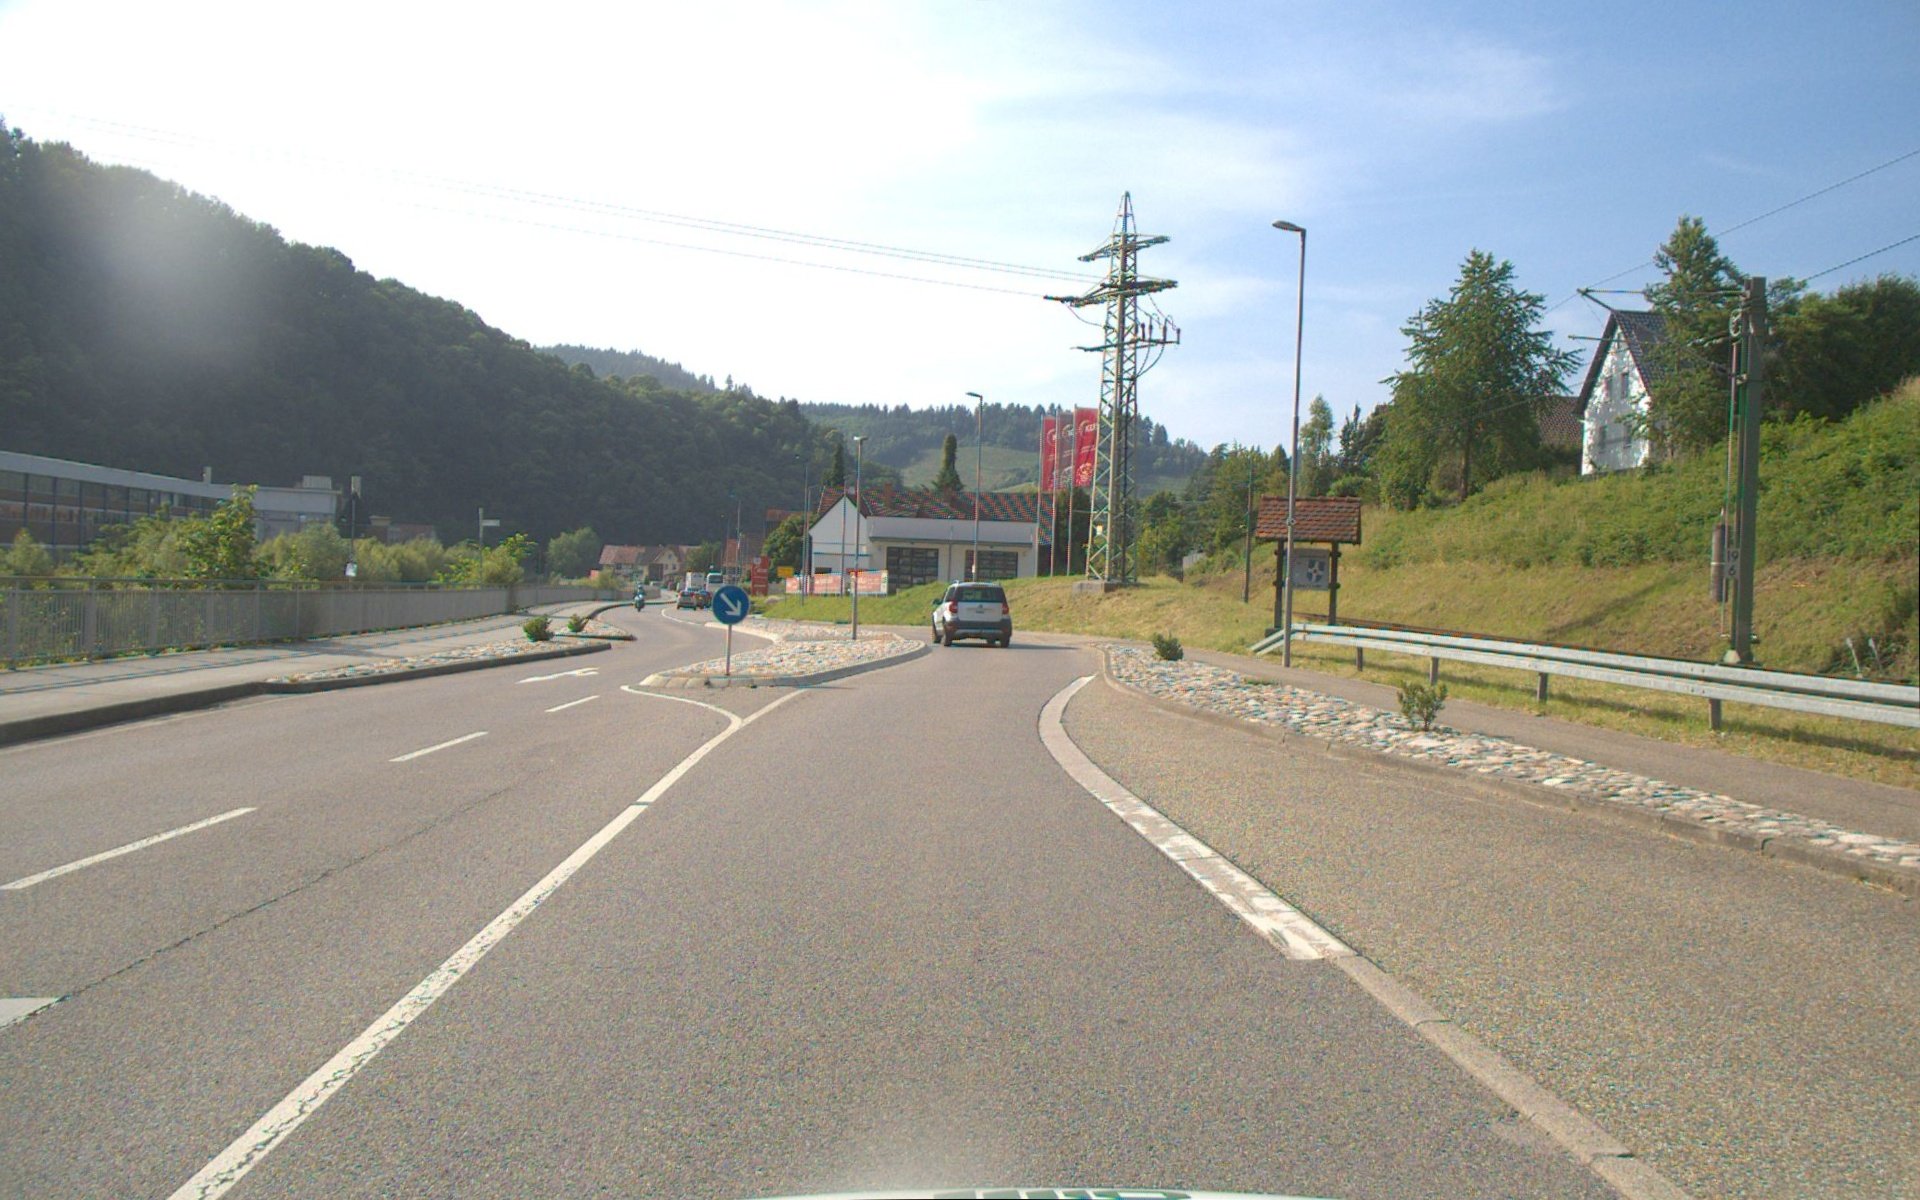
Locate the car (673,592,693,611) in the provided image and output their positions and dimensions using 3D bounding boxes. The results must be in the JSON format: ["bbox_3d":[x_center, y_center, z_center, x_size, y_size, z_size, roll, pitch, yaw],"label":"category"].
[{"bbox_3d":[-23.115,0.129,138.286,1.426,1.460,2.932,2,1,-6],"label":"car"}]

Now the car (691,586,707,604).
[{"bbox_3d":[-23.544,-0.478,149.234,1.331,1.460,2.834,2,1,-7],"label":"car"}]

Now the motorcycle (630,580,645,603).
[{"bbox_3d":[-20.872,-0.545,107.023,0.758,1.447,2.314,1,0,-8],"label":"motorcycle"}]

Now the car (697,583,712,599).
[{"bbox_3d":[-24.841,-0.842,160.925,1.267,1.460,2.802,2,1,-7],"label":"car"}]

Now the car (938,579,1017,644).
[{"bbox_3d":[0.415,0.307,44.228,1.824,1.571,4.371,2,0,-2],"label":"car"}]

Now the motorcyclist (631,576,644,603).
[{"bbox_3d":[-20.863,-0.654,107.062,0.748,1.707,0.726,1,-1,-7],"label":"motorcyclist"}]
